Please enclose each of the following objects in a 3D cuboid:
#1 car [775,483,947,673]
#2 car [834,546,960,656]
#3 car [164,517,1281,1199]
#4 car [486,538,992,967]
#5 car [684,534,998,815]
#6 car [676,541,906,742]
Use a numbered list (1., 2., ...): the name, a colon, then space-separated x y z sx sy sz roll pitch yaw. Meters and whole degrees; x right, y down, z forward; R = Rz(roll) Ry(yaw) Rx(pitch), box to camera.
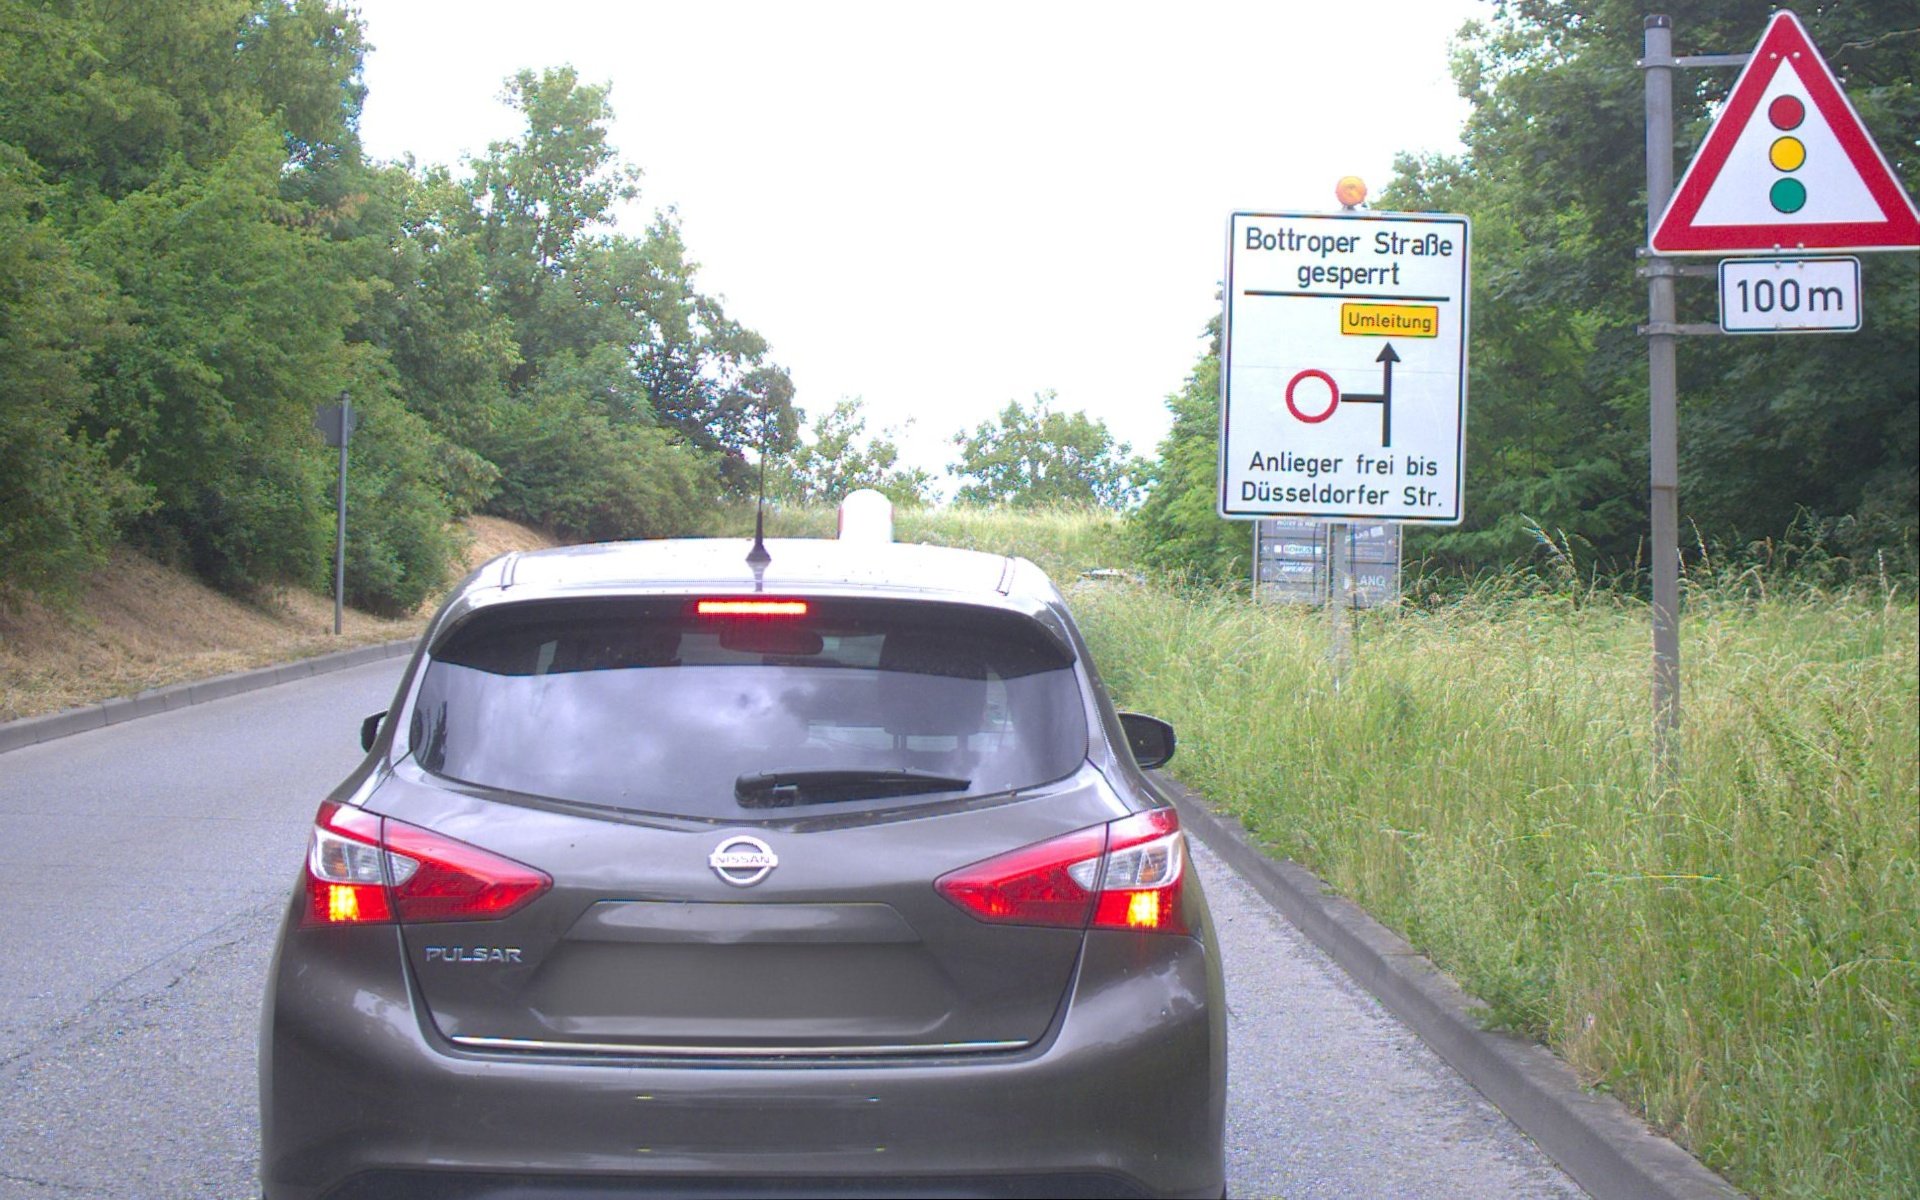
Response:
1. car: -1.045 -0.254 36.713 1.736 1.928 3.544 0 1 -1
2. car: -0.889 -0.011 50.066 1.736 1.521 3.543 0 1 0
3. car: -0.455 0.613 7.408 1.830 1.551 3.500 0 1 -2
4. car: -0.812 0.522 14.301 1.830 1.551 3.625 0 1 0
5. car: -0.670 0.380 20.852 1.736 1.551 3.543 0 1 0
6. car: -1.341 0.290 28.454 1.736 1.551 3.543 0 1 0
